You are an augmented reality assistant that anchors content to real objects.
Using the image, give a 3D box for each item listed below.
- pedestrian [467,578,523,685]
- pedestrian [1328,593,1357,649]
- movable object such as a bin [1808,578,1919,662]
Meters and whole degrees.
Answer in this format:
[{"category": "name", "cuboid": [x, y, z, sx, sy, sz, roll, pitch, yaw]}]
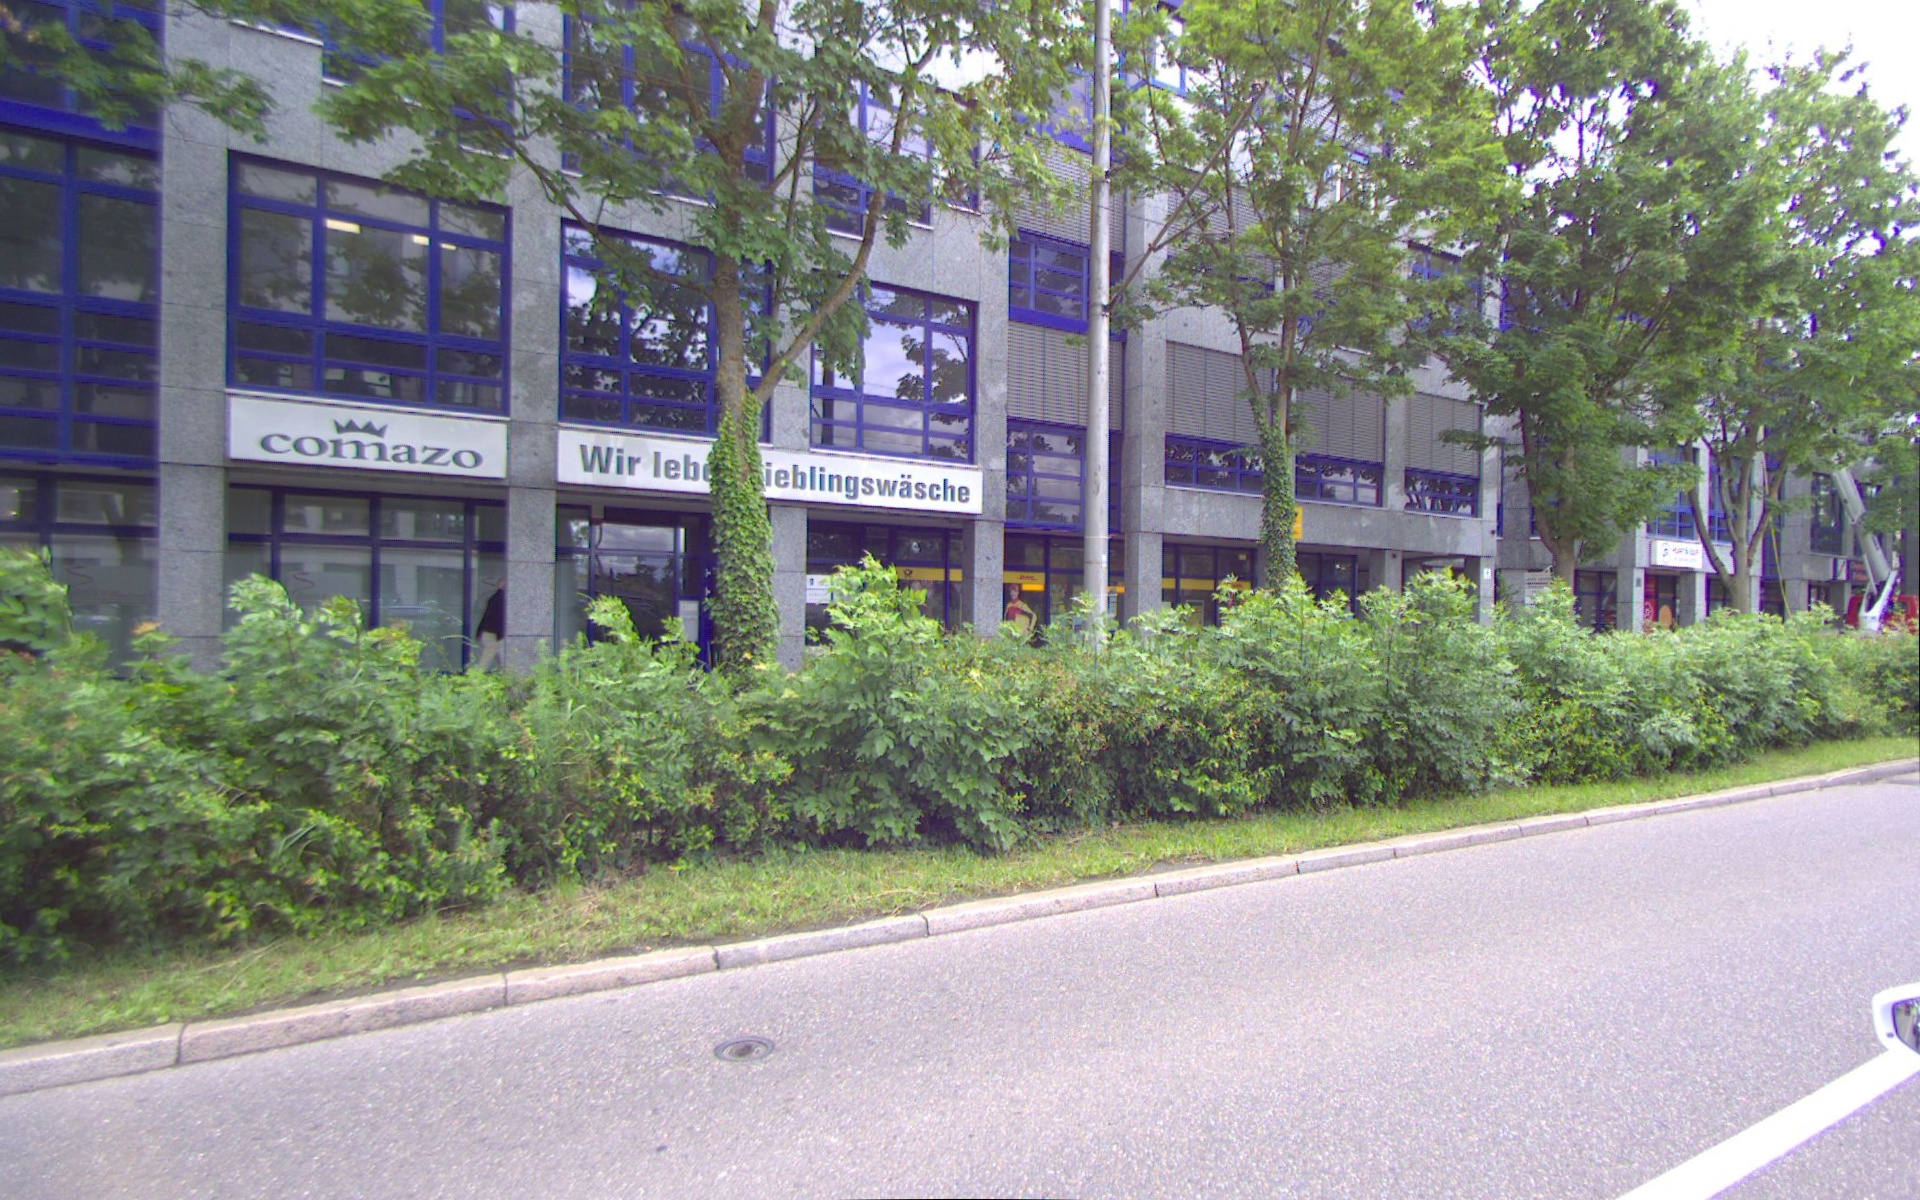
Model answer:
[{"category": "pedestrian", "cuboid": [-6.784, 0.443, 14.648, 0.671, 1.502, 0.694, 1, 1, -30]}, {"category": "pedestrian", "cuboid": [9.427, 0.514, 24.770, 0.552, 1.352, 0.362, 0, 3, -35]}, {"category": "movable object such as a bin", "cuboid": [29.574, 0.617, 32.584, 4.080, 2.565, 1.895, 1, 1, -31]}]
